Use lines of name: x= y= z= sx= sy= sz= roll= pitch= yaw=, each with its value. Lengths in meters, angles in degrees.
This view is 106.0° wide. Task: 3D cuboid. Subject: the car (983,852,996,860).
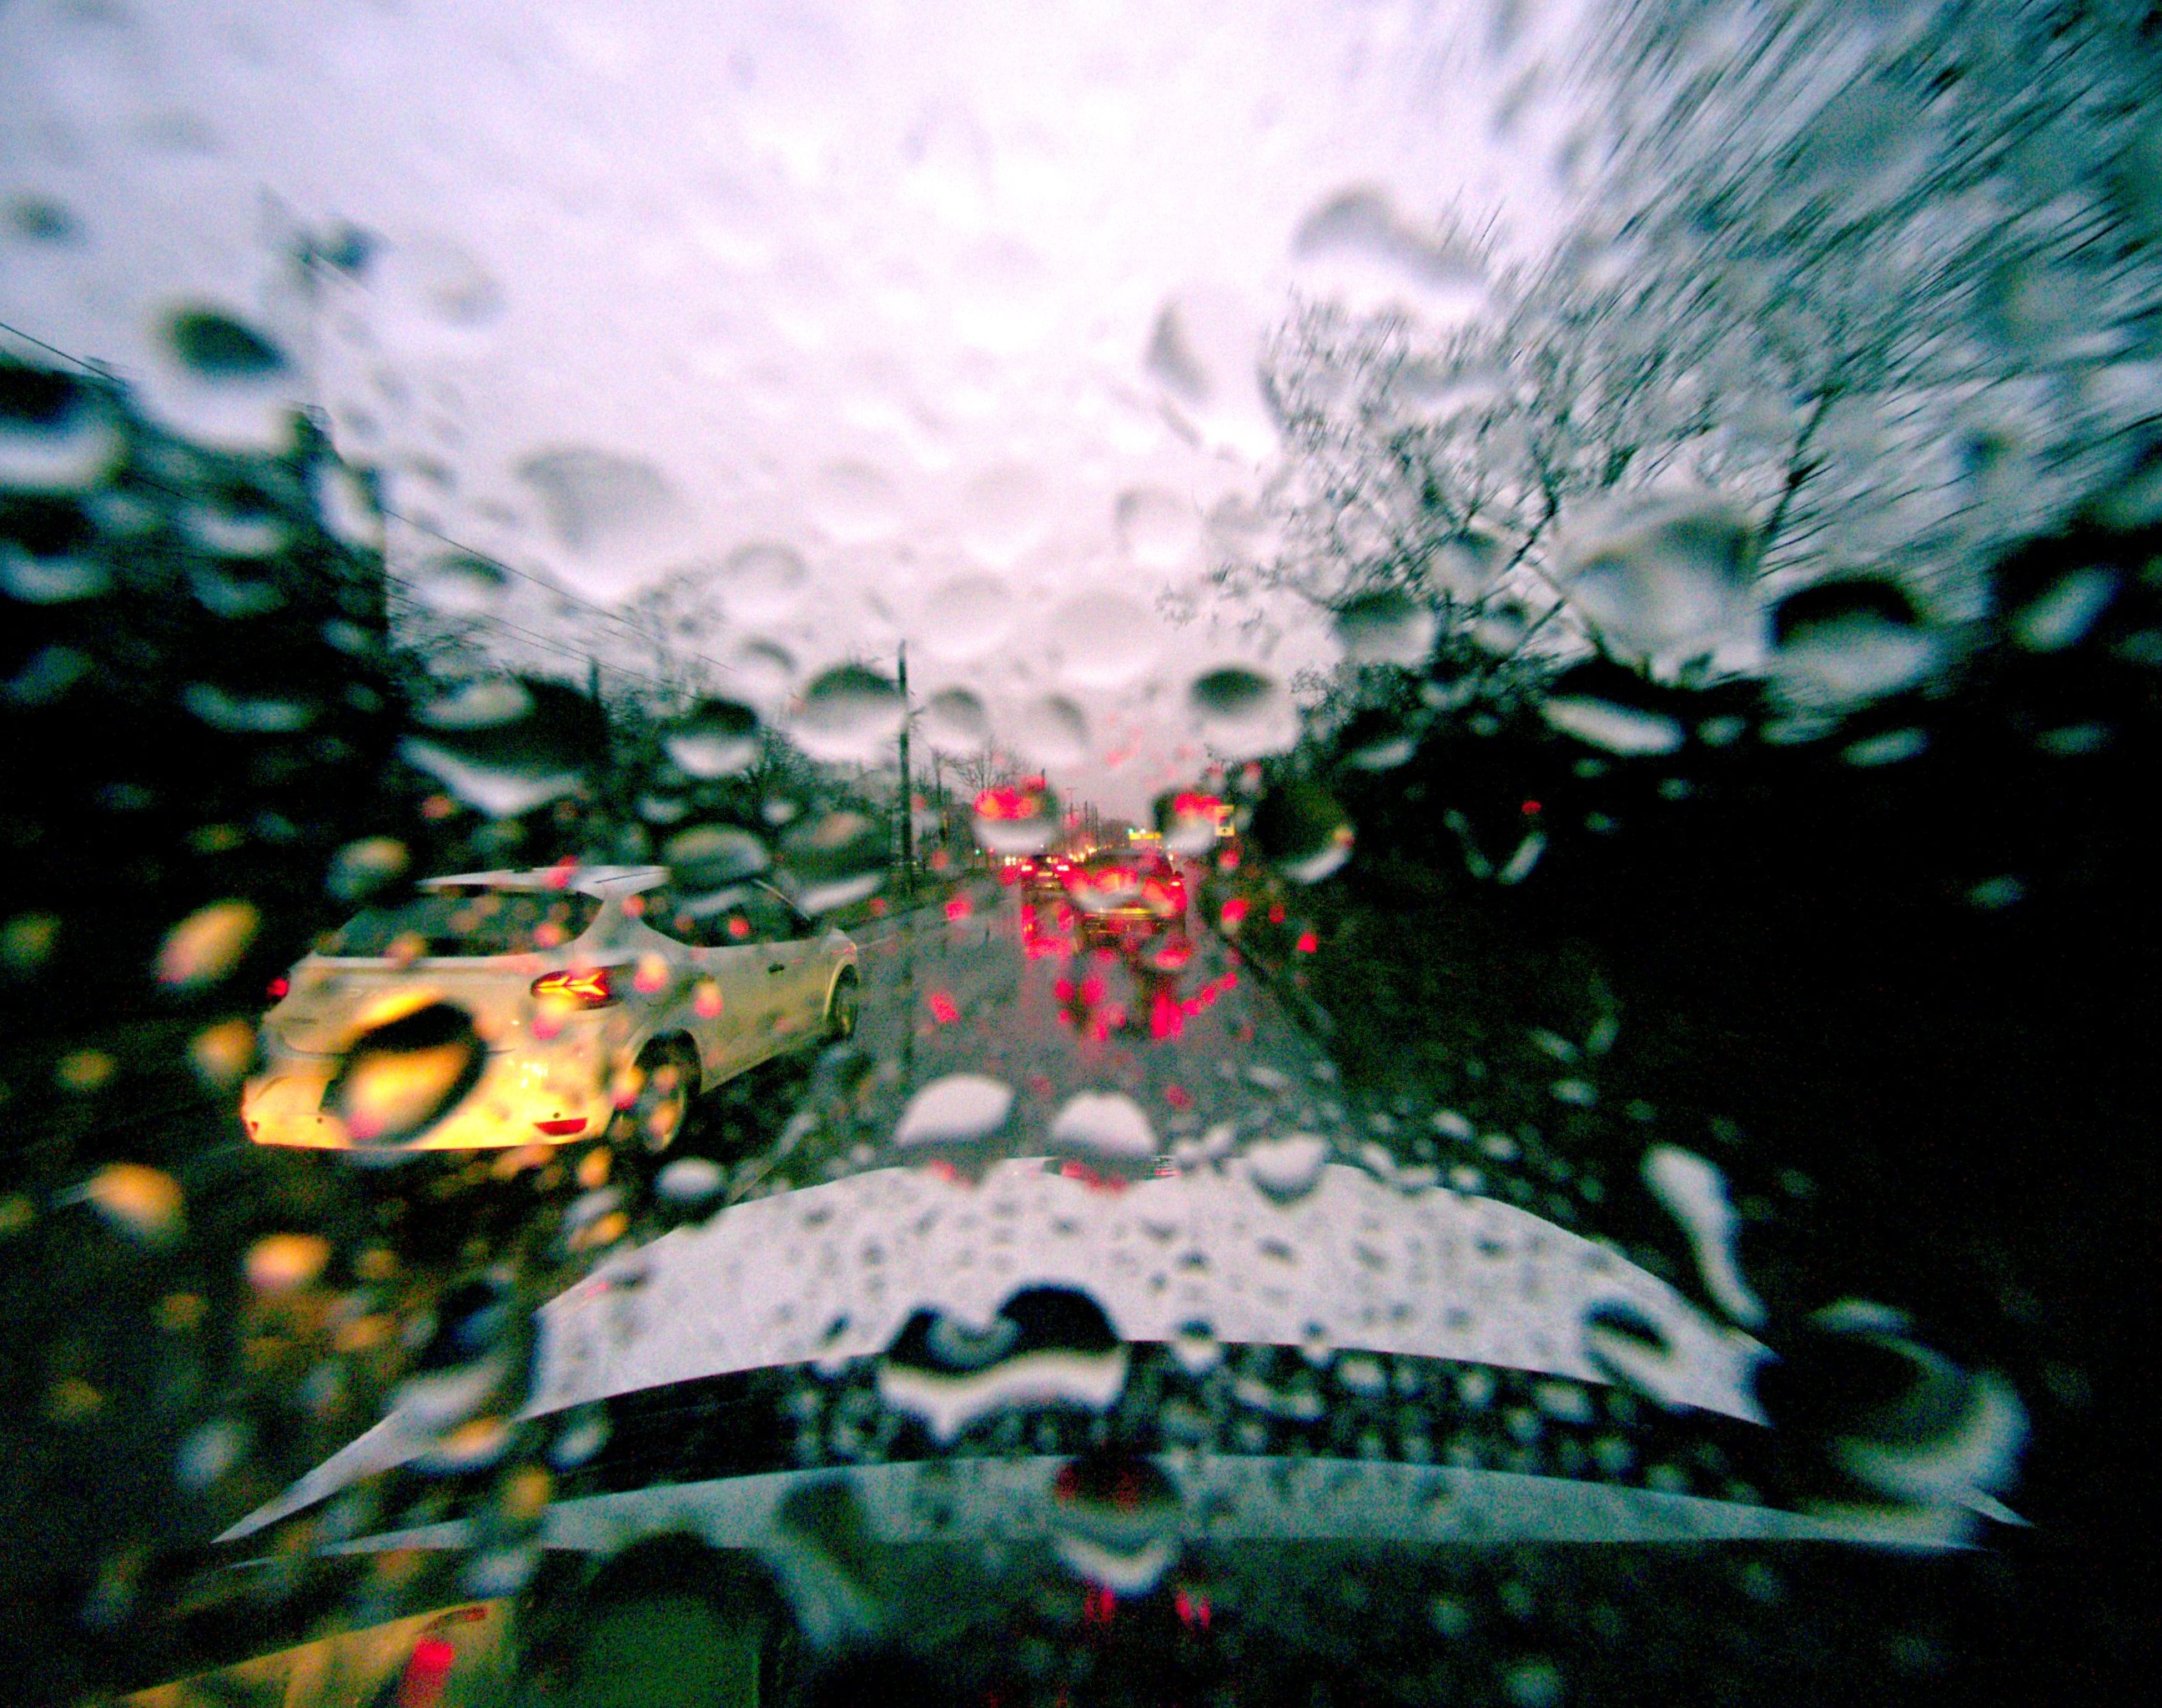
car: x=-19.112 y=0.351 z=170.759 sx=1.984 sy=1.658 sz=4.005 roll=0 pitch=0 yaw=5

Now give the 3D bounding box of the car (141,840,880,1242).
car: x=-2.744 y=0.732 z=5.245 sx=1.702 sy=1.525 sz=4.137 roll=-2 pitch=0 yaw=2

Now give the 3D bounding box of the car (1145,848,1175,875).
car: x=4.867 y=0.438 z=49.818 sx=1.700 sy=1.558 sz=4.003 roll=-2 pitch=0 yaw=6

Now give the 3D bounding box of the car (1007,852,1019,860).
car: x=-14.819 y=0.374 z=177.005 sx=1.984 sy=1.658 sz=4.005 roll=0 pitch=0 yaw=5

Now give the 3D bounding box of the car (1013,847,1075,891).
car: x=-1.305 y=0.509 z=30.207 sx=1.872 sy=1.459 sz=4.003 roll=-2 pitch=0 yaw=3

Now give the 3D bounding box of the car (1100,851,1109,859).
car: x=5.351 y=0.268 z=185.297 sx=1.984 sy=1.666 sz=3.842 roll=-2 pitch=0 yaw=5

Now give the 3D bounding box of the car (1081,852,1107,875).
car: x=0.969 y=0.668 z=59.705 sx=1.702 sy=1.558 sz=3.999 roll=-2 pitch=0 yaw=3

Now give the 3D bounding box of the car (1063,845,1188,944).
car: x=0.903 y=0.647 z=15.149 sx=1.988 sy=1.584 sz=4.006 roll=-1 pitch=0 yaw=5
